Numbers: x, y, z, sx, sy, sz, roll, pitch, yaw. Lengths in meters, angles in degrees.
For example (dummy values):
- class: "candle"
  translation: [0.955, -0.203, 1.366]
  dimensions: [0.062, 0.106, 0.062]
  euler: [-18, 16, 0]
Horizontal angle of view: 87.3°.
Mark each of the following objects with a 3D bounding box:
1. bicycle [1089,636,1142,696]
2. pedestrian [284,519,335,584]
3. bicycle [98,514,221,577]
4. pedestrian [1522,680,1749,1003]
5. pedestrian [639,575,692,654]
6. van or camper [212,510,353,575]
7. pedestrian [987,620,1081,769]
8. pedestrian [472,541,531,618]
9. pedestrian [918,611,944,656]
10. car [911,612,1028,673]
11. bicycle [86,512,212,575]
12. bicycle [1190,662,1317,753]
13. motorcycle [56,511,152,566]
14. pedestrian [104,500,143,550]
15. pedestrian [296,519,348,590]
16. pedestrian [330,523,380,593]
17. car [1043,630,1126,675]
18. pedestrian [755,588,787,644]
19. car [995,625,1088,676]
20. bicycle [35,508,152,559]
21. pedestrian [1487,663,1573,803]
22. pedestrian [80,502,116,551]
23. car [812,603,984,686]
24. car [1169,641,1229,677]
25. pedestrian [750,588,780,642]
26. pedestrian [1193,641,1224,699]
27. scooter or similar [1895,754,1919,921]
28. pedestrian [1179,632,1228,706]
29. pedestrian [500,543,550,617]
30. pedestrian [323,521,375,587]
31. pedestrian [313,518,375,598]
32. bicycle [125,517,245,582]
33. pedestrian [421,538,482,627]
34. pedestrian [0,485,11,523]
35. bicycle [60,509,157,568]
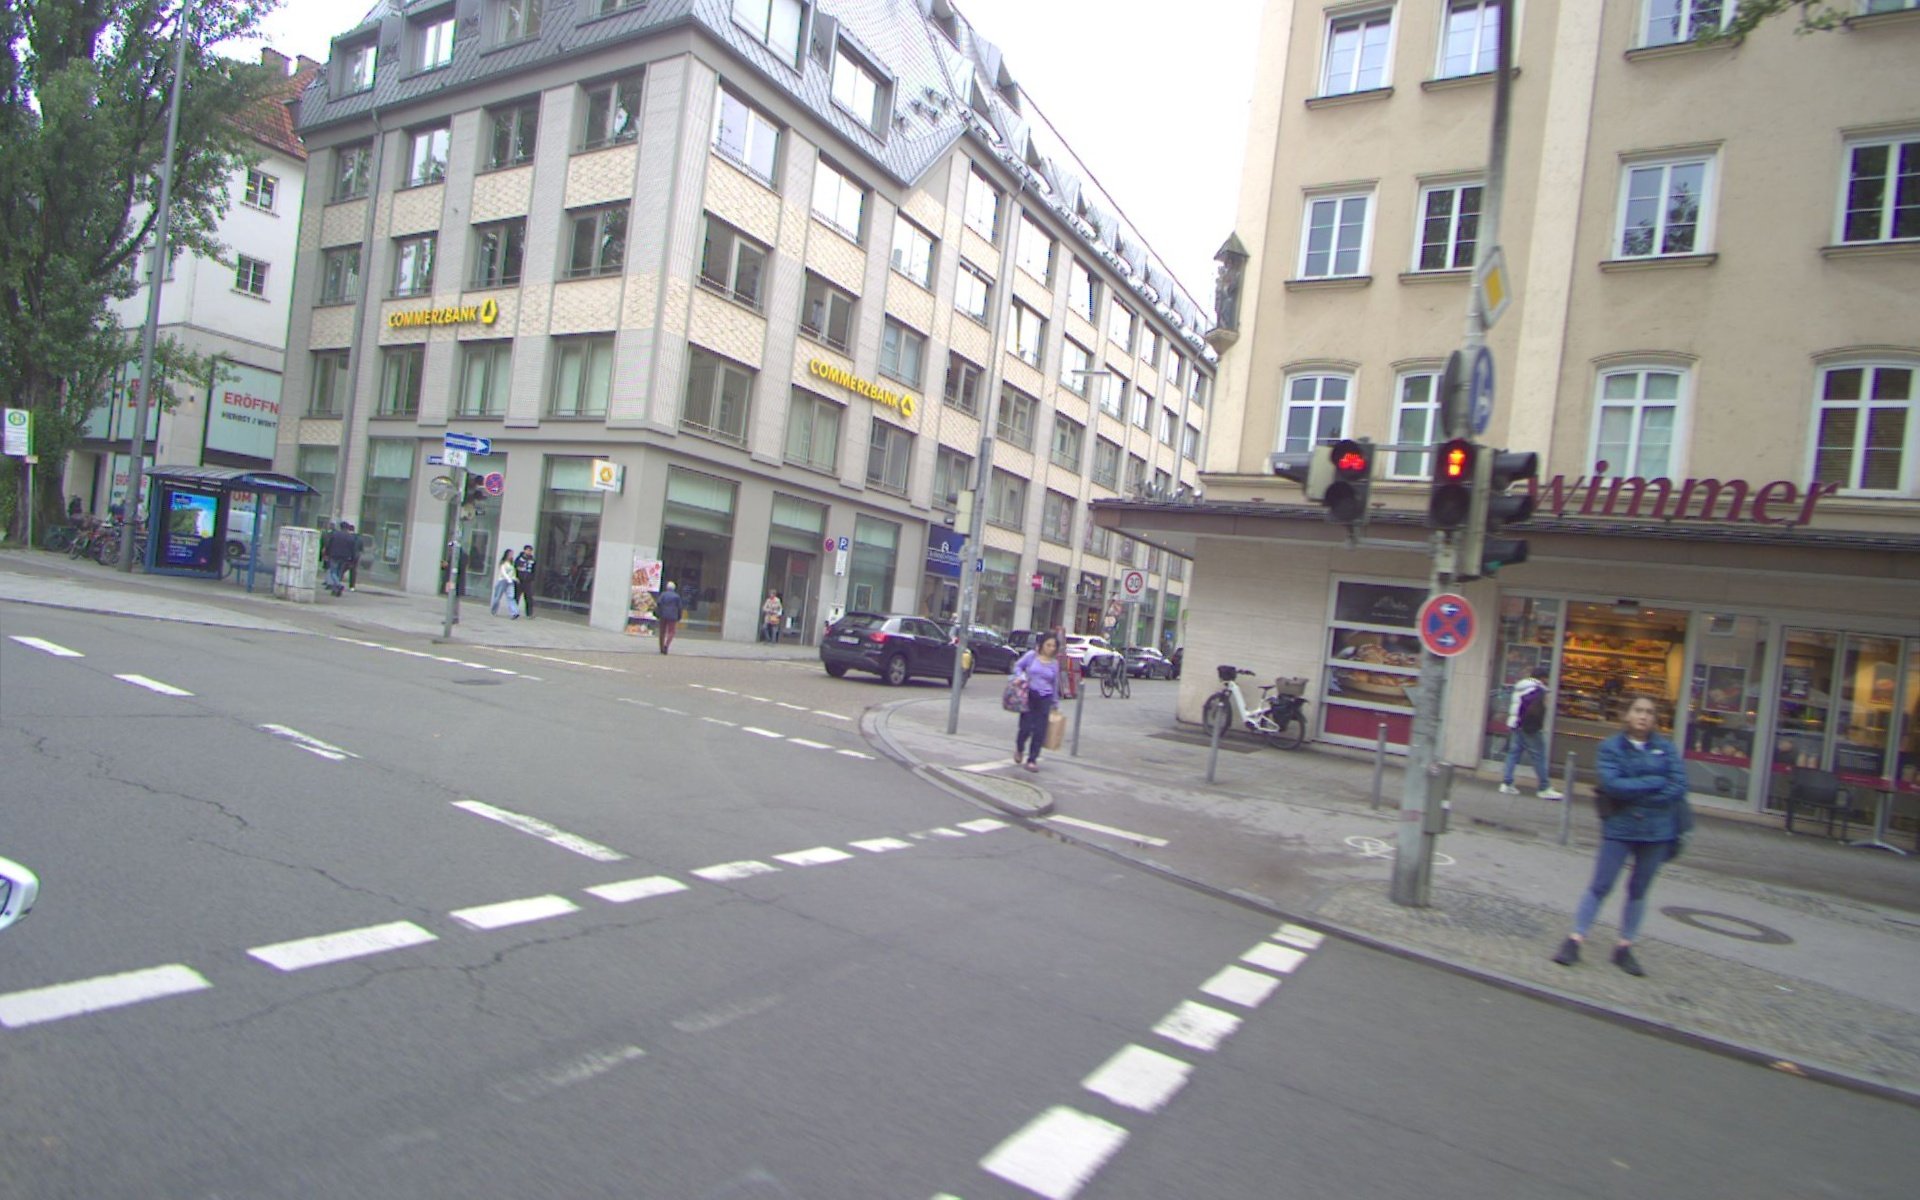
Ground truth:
- class: "bicycle"
  translation: [3.895, 1.661, 25.041]
  dimensions: [0.473, 1.403, 1.830]
  euler: [7, 0, 32]
- class: "pedestrian"
  translation: [-18.354, -1.372, 28.368]
  dimensions: [0.947, 1.698, 0.750]
  euler: [7, 1, 32]
- class: "bicycle"
  translation: [-20.159, -1.351, 25.404]
  dimensions: [0.469, 1.267, 2.319]
  euler: [7, 0, 31]
- class: "pedestrian"
  translation: [3.929, 1.341, 5.941]
  dimensions: [0.849, 1.630, 0.767]
  euler: [7, 1, 27]
- class: "pedestrian"
  translation: [-6.535, 0.326, 22.337]
  dimensions: [0.722, 1.657, 0.750]
  euler: [5, 1, 33]
- class: "van or camper"
  translation: [-26.710, -2.236, 39.788]
  dimensions: [1.868, 1.888, 4.109]
  euler: [6, -2, 35]
- class: "pedestrian"
  translation: [0.809, 1.033, 11.135]
  dimensions: [0.757, 1.536, 0.618]
  euler: [5, 0, -15]
- class: "pedestrian"
  translation: [-11.428, -0.506, 25.079]
  dimensions: [1.000, 1.780, 0.750]
  euler: [8, 1, 33]
- class: "pedestrian"
  translation: [-0.981, 1.131, 34.055]
  dimensions: [0.574, 1.423, 0.444]
  euler: [7, 0, 28]
- class: "car"
  translation: [0.377, 1.374, 31.699]
  dimensions: [1.730, 1.568, 3.992]
  euler: [7, 0, 32]
- class: "bicycle"
  translation: [-20.666, -1.412, 25.687]
  dimensions: [0.622, 1.267, 2.347]
  euler: [7, -1, 31]
- class: "bicycle"
  translation: [4.703, 1.703, 16.179]
  dimensions: [1.781, 1.184, 0.435]
  euler: [7, -1, 30]
- class: "motorcycle"
  translation: [-21.923, -1.559, 25.806]
  dimensions: [0.501, 1.154, 1.726]
  euler: [7, 0, 32]
- class: "pedestrian"
  translation: [-32.014, -2.860, 38.505]
  dimensions: [0.947, 1.739, 0.751]
  euler: [7, 0, 31]
- class: "pedestrian"
  translation: [-16.844, -1.195, 26.574]
  dimensions: [0.845, 1.779, 0.751]
  euler: [5, 0, 32]
- class: "pedestrian"
  translation: [-16.365, -1.135, 27.219]
  dimensions: [0.845, 1.779, 0.751]
  euler: [5, 0, 32]
- class: "car"
  translation: [4.972, 2.101, 39.757]
  dimensions: [1.730, 1.479, 3.691]
  euler: [7, 0, 32]
- class: "pedestrian"
  translation: [-5.415, 0.460, 28.860]
  dimensions: [0.574, 1.550, 0.444]
  euler: [7, 0, 28]
- class: "car"
  translation: [2.989, 1.855, 36.324]
  dimensions: [1.730, 1.479, 3.691]
  euler: [7, 0, 32]
- class: "bicycle"
  translation: [-23.107, -1.755, 26.868]
  dimensions: [0.860, 1.029, 2.151]
  euler: [7, -1, 31]
- class: "pedestrian"
  translation: [7.613, 1.751, 13.431]
  dimensions: [0.847, 1.723, 0.665]
  euler: [5, 0, 32]
- class: "pedestrian"
  translation: [-32.451, -2.760, 37.880]
  dimensions: [0.947, 1.683, 0.653]
  euler: [7, 0, 32]
- class: "car"
  translation: [-1.262, 1.036, 22.220]
  dimensions: [1.730, 1.479, 3.993]
  euler: [7, 0, 30]
- class: "car"
  translation: [12.178, 3.011, 51.054]
  dimensions: [1.730, 1.479, 3.993]
  euler: [7, -1, 31]
- class: "pedestrian"
  translation: [-5.890, 0.451, 30.335]
  dimensions: [0.574, 1.550, 0.444]
  euler: [7, 0, 28]
- class: "pedestrian"
  translation: [7.423, 2.090, 30.038]
  dimensions: [0.576, 1.664, 0.443]
  euler: [6, -1, 40]
- class: "scooter or similar"
  translation: [8.104, 1.921, 7.617]
  dimensions: [1.345, 1.259, 0.408]
  euler: [7, 0, 15]
- class: "pedestrian"
  translation: [6.319, 1.801, 26.097]
  dimensions: [0.667, 1.789, 0.999]
  euler: [6, -1, 40]
- class: "pedestrian"
  translation: [-11.197, -0.505, 25.914]
  dimensions: [0.699, 1.779, 0.751]
  euler: [7, 0, 32]
- class: "pedestrian"
  translation: [-17.440, -1.302, 28.718]
  dimensions: [0.947, 1.739, 0.751]
  euler: [7, 0, 32]
- class: "pedestrian"
  translation: [-15.245, -1.037, 24.911]
  dimensions: [0.875, 1.840, 0.819]
  euler: [7, 0, 30]
- class: "bicycle"
  translation: [-19.074, -1.226, 24.828]
  dimensions: [2.226, 1.268, 0.472]
  euler: [8, 0, -35]
- class: "pedestrian"
  translation: [-10.824, -0.370, 21.426]
  dimensions: [0.740, 1.779, 0.709]
  euler: [7, 0, 32]
- class: "pedestrian"
  translation: [-43.457, -4.376, 45.502]
  dimensions: [0.759, 1.633, 0.668]
  euler: [10, 7, 38]
- class: "bicycle"
  translation: [-21.515, -1.539, 25.451]
  dimensions: [0.442, 1.254, 1.726]
  euler: [7, 0, 32]
